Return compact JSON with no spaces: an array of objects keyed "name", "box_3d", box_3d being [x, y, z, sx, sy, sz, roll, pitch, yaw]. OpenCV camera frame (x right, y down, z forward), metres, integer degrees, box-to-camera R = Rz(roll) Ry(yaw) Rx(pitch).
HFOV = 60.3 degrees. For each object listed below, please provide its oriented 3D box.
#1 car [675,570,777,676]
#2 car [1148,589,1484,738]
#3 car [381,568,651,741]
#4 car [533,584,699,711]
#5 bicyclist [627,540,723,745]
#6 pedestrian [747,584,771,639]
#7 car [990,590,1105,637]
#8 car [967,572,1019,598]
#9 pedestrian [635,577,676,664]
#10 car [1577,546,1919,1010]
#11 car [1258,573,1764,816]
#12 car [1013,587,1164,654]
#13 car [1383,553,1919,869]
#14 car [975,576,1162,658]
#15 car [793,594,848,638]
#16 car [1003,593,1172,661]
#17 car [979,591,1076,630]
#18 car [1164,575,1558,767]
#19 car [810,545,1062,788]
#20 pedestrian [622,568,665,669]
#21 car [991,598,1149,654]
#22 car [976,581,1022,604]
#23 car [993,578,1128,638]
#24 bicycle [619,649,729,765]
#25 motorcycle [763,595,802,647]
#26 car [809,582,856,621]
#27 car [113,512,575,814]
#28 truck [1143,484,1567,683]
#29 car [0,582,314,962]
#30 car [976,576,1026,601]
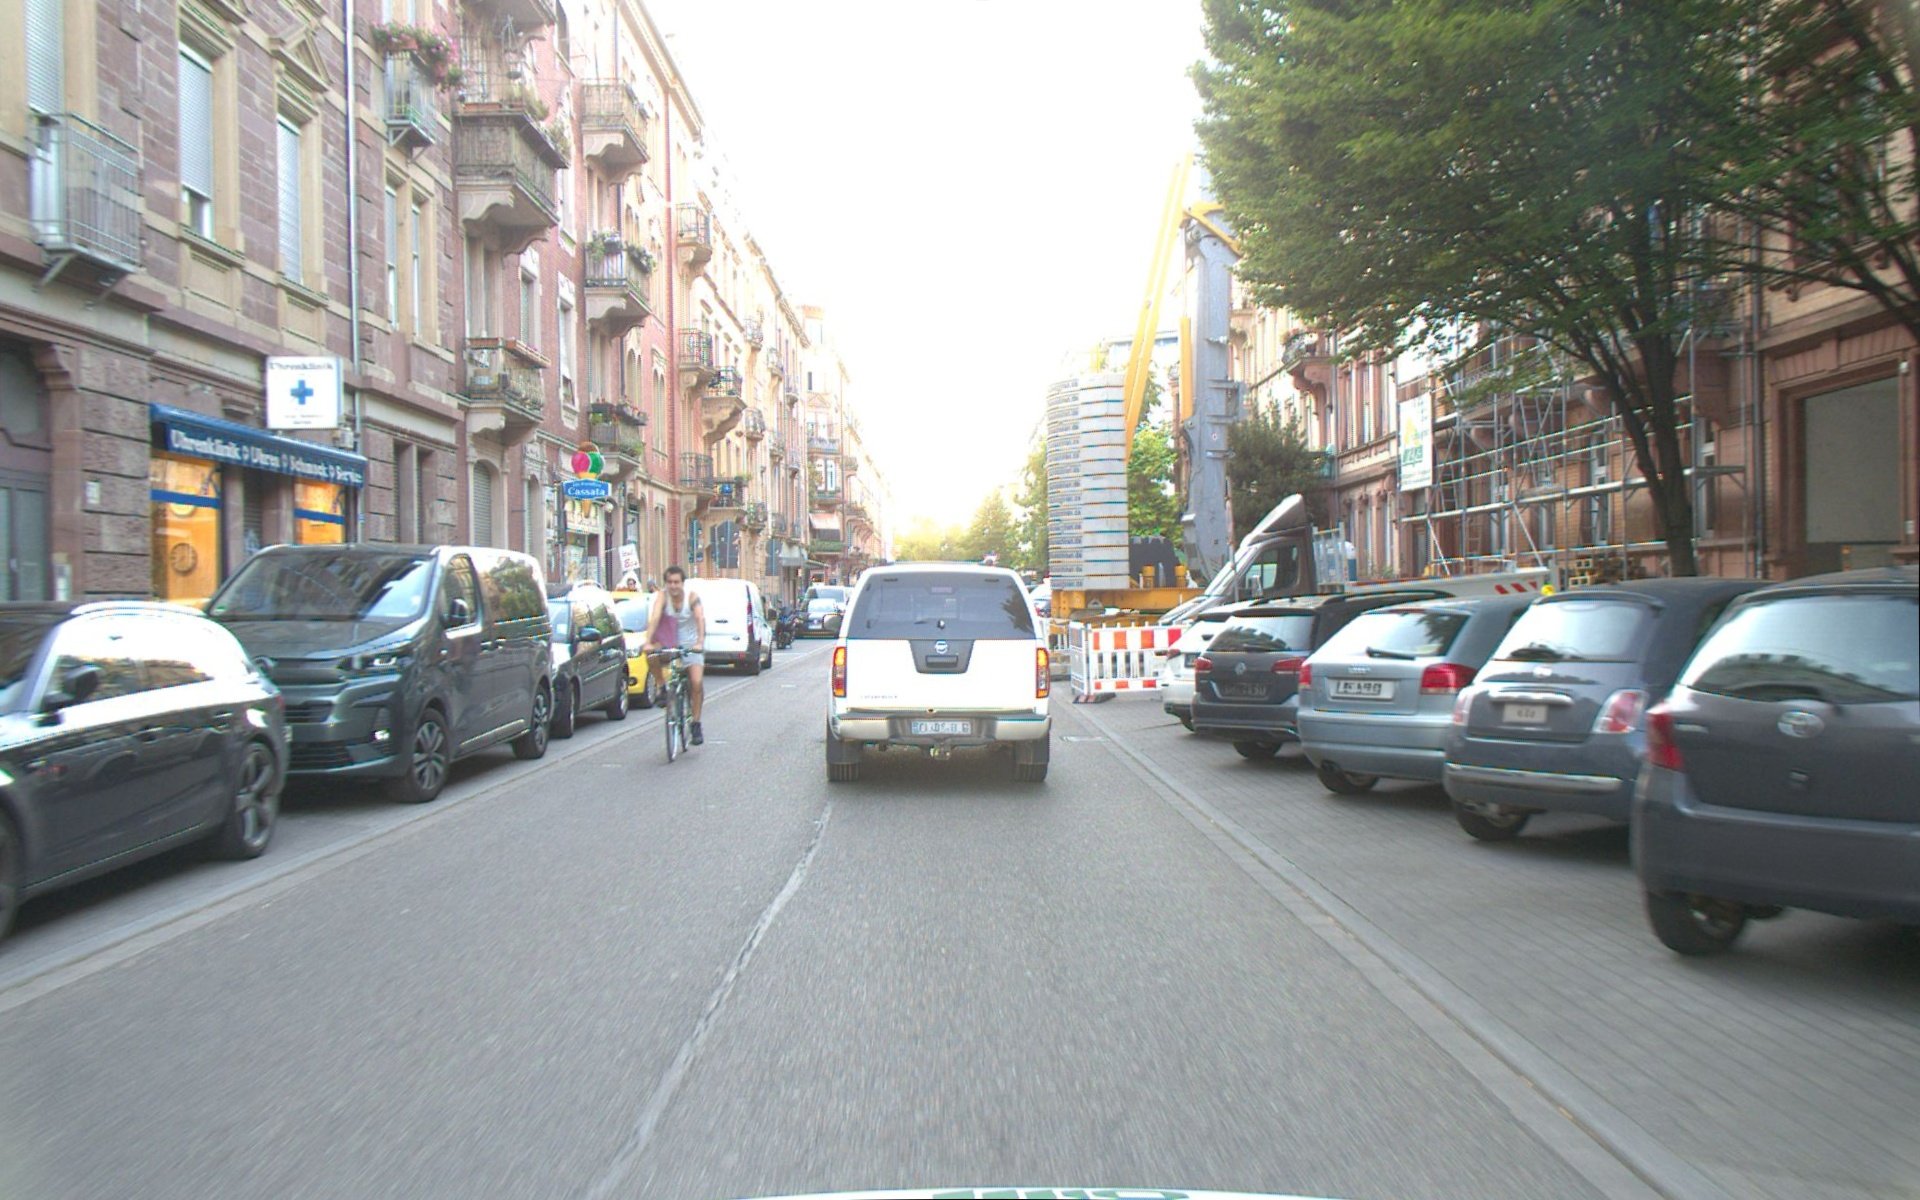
[{"name":"car","box_3d":[-4.589,0.428,32.876,1.527,1.955,3.855,1,0,-1]},{"name":"car","box_3d":[3.929,0.625,18.142,3.514,1.490,1.594,0,0,-32]},{"name":"car","box_3d":[-4.834,0.538,18.614,1.865,1.692,4.068,-1,0,1]},{"name":"car","box_3d":[-4.754,0.610,23.342,1.468,1.621,3.856,-1,0,1]},{"name":"bicyclist","box_3d":[-2.679,0.386,15.644,0.784,1.882,0.943,0,0,-3]},{"name":"pedestrian","box_3d":[-7.436,0.421,61.278,0.772,2.049,0.934,0,0,-1]},{"name":"car","box_3d":[3.166,0.478,59.971,4.108,1.650,1.820,0,0,2]},{"name":"car","box_3d":[2.889,-1.276,144.461,4.492,2.215,1.820,0,0,2]},{"name":"pedestrian","box_3d":[-6.803,0.452,37.008,0.603,1.902,0.740,0,0,22]},{"name":"car","box_3d":[4.341,0.530,6.720,3.364,1.500,1.755,-3,2,-32]},{"name":"car","box_3d":[4.233,0.599,12.519,3.794,1.462,1.740,-3,1,-36]},{"name":"car","box_3d":[3.583,0.558,46.197,4.107,1.811,1.821,0,0,5]},{"name":"car","box_3d":[4.668,0.545,10.140,3.779,1.557,1.747,-2,0,-27]},{"name":"car","box_3d":[2.451,0.378,37.354,4.107,1.811,1.821,0,0,5]},{"name":"car","box_3d":[-5.173,0.574,61.706,1.755,1.557,4.000,0,0,0]},{"name":"car","box_3d":[3.143,0.647,41.295,4.108,1.650,1.820,0,0,2]},{"name":"car","box_3d":[2.911,0.443,71.204,4.108,1.650,1.820,0,0,2]},{"name":"car","box_3d":[3.785,0.566,15.285,3.858,1.557,1.614,0,0,-41]},{"name":"car","box_3d":[-0.217,0.492,14.733,1.894,1.826,4.621,0,0,-1]},{"name":"pedestrian","box_3d":[-6.050,0.348,31.635,0.723,1.902,0.618,0,0,-2]},{"name":"car","box_3d":[2.945,0.688,43.980,4.107,1.454,1.821,0,0,5]},{"name":"car","box_3d":[3.873,-0.732,162.172,4.492,2.215,1.820,0,0,2]},{"name":"car","box_3d":[3.117,0.237,51.609,4.108,1.811,1.820,0,0,2]},{"name":"bicycle","box_3d":[-2.674,0.977,15.679,0.784,0.963,2.003,0,0,-3]},{"name":"motorcycle","box_3d":[-5.087,0.585,47.638,0.819,1.440,2.549,0,0,0]},{"name":"car","box_3d":[-5.191,0.045,67.608,1.675,1.557,3.999,0,0,-1]},{"name":"car","box_3d":[-4.591,0.402,13.259,1.866,1.959,4.946,0,0,0]},{"name":"truck","box_3d":[6.131,-0.203,26.335,6.190,3.029,2.264,0,-3,0]},{"name":"car","box_3d":[-4.733,0.677,7.506,1.873,1.497,4.533,0,0,-1]},{"name":"car","box_3d":[3.683,-1.004,148.768,4.492,2.215,1.820,0,0,2]}]
